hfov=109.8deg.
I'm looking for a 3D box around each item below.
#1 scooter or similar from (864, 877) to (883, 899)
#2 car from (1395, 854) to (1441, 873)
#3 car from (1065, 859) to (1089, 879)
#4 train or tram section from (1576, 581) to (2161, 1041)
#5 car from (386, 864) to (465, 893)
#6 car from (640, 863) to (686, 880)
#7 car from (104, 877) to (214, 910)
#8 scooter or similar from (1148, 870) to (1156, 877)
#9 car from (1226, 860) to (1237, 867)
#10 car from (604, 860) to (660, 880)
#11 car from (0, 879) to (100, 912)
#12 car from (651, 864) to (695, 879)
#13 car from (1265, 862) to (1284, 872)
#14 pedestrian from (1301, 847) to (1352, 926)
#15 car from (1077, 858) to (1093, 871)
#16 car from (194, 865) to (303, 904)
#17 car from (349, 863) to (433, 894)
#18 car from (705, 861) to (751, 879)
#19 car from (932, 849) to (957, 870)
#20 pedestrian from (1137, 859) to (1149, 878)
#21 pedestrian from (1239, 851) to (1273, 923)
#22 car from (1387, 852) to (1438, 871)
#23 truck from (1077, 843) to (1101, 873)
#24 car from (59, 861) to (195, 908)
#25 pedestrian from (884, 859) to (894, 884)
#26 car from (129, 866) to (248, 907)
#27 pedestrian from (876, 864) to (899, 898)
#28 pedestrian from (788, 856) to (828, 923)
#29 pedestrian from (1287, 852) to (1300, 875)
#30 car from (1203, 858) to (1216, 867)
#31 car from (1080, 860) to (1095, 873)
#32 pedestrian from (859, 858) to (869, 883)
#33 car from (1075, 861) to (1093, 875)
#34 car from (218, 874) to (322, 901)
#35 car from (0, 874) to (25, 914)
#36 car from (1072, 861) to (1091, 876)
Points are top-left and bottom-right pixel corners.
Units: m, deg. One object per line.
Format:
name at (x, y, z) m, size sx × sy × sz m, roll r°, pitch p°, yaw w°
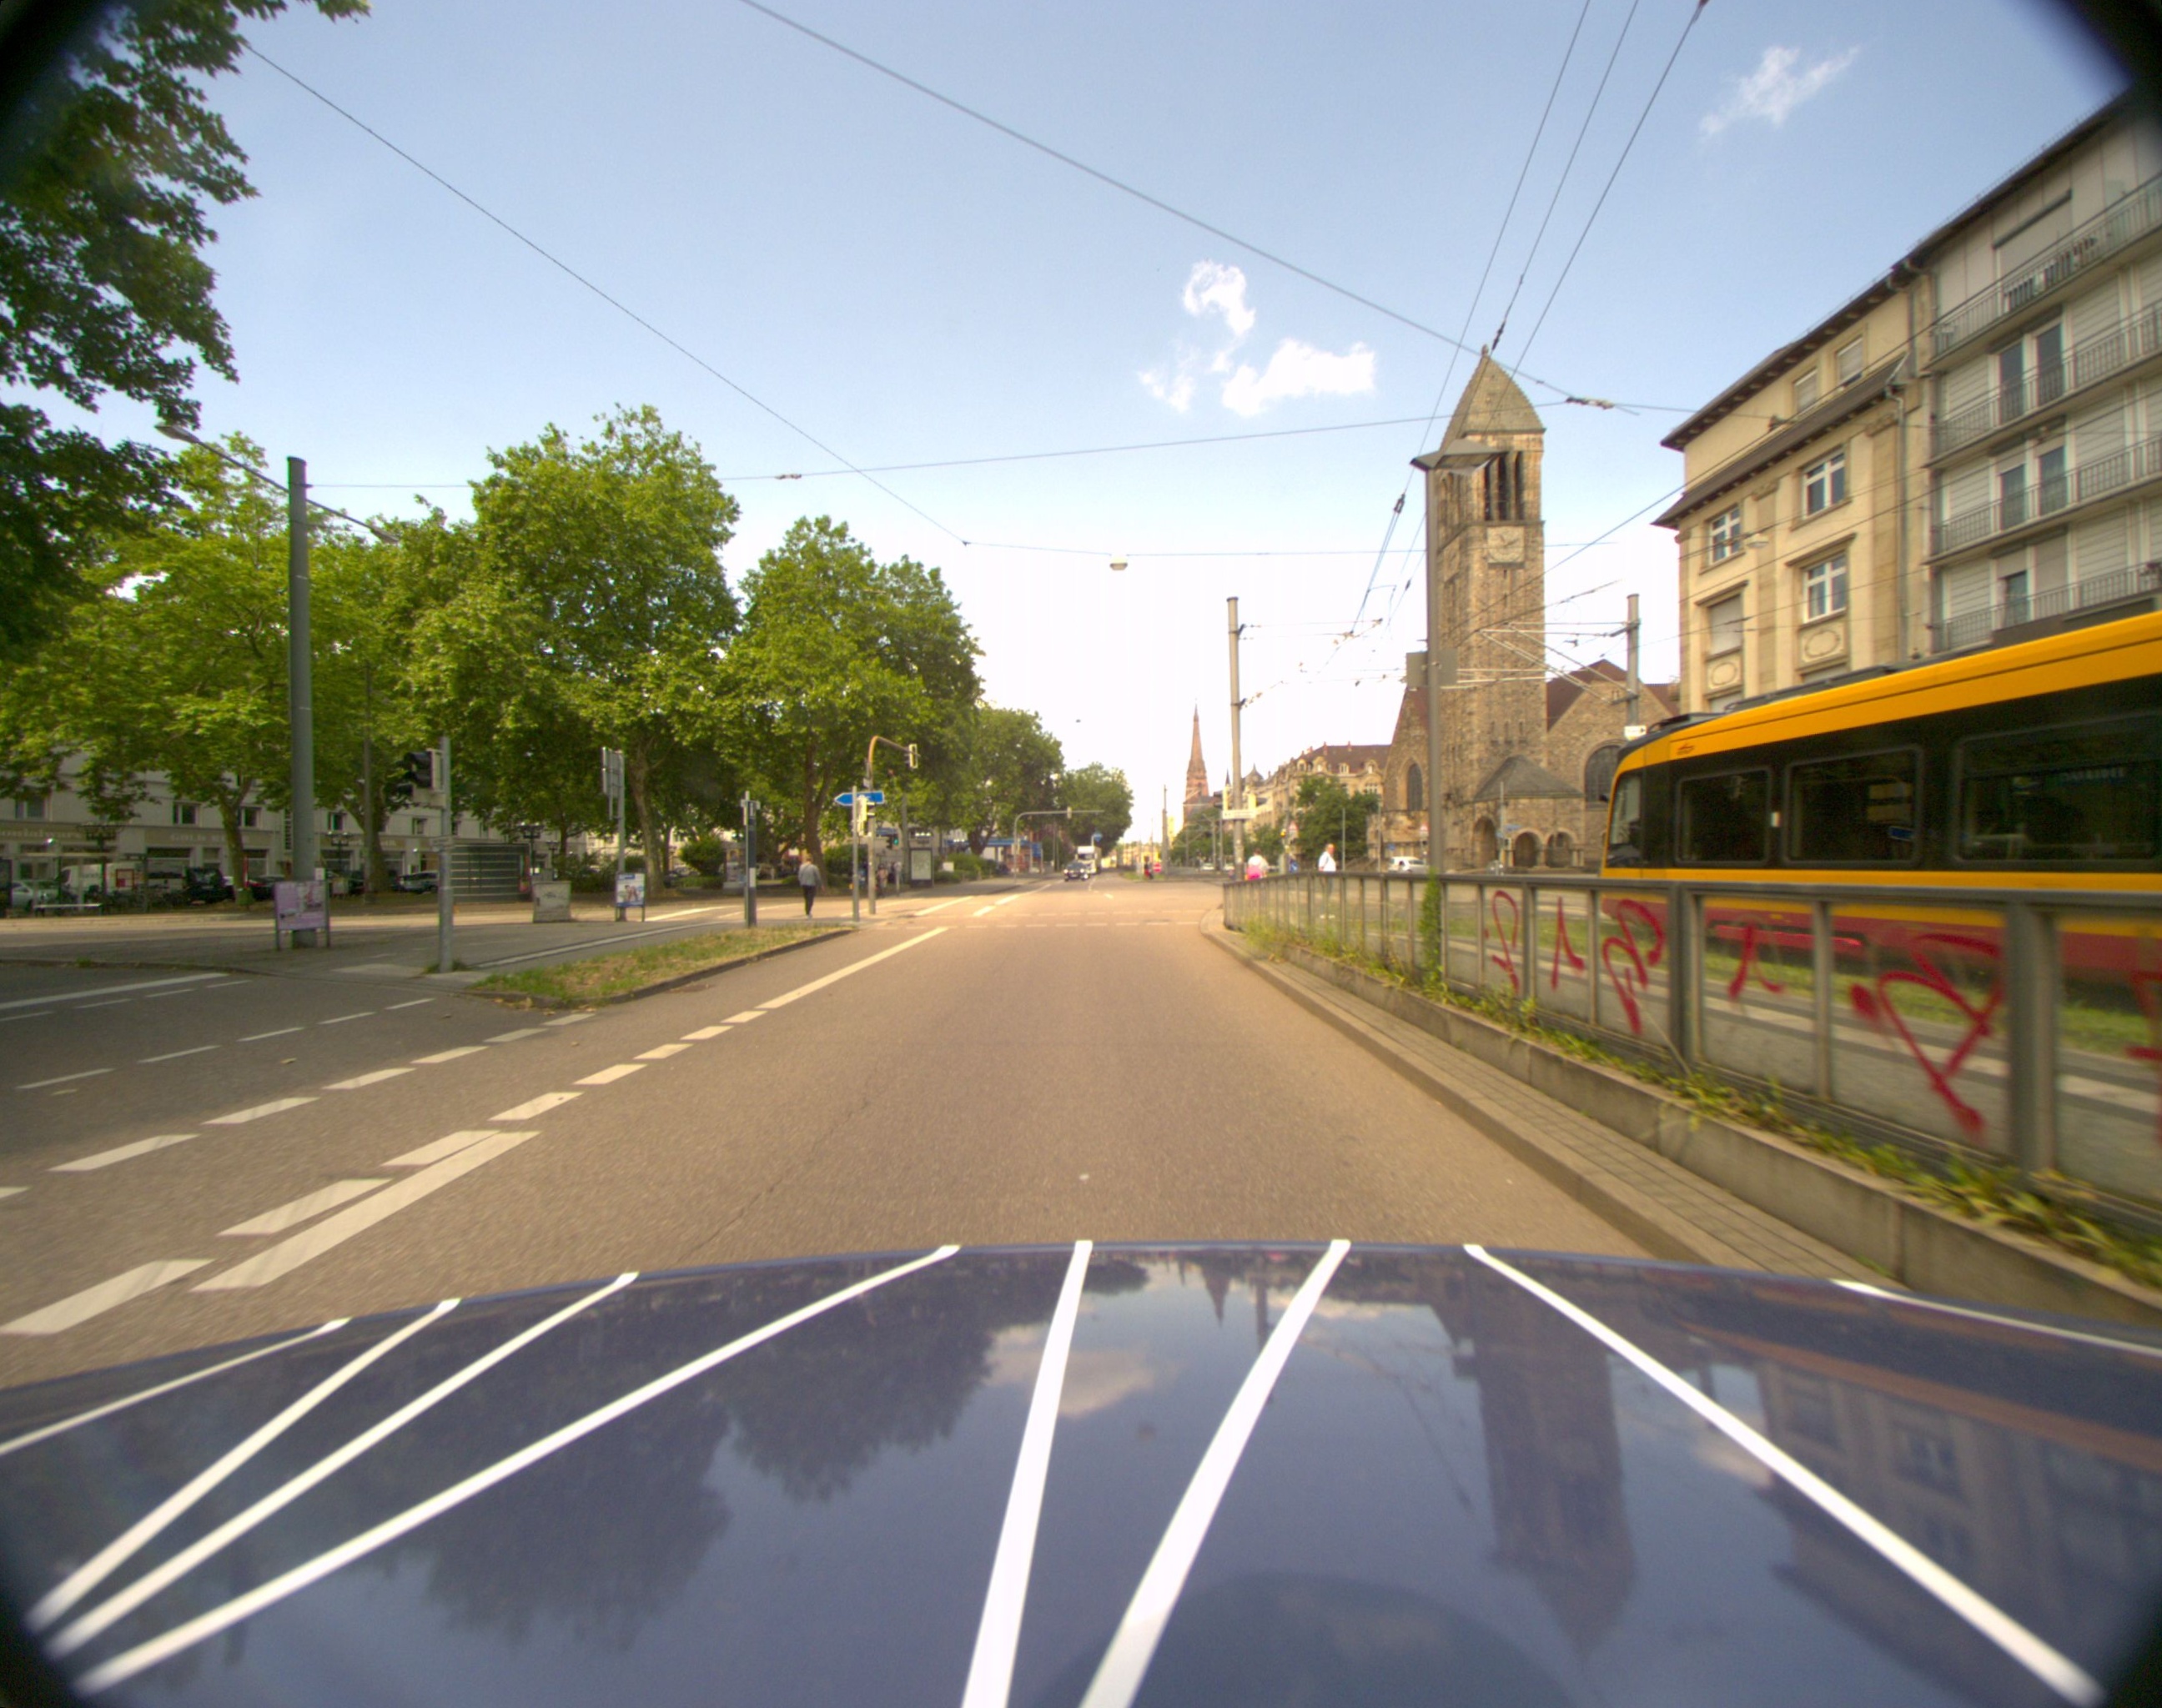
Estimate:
scooter or similar at (-9.928, 1.631, 36.432) m, size 0.489 × 1.050 × 0.710 m, roll 0°, pitch 0°, yaw 38°
car at (32.669, 0.935, 73.615) m, size 3.635 × 1.668 × 1.819 m, roll 1°, pitch -2°, yaw -1°
car at (-0.315, 1.305, 68.315) m, size 1.853 × 1.716 × 4.420 m, roll 0°, pitch 0°, yaw 3°
train or tram section at (9.795, -0.348, 6.552) m, size 2.814 × 3.563 × 13.017 m, roll -1°, pitch 0°, yaw 1°
car at (-47.534, 1.739, 55.160) m, size 3.997 × 2.002 × 2.000 m, roll -1°, pitch 0°, yaw 0°
car at (-45.544, 1.903, 82.786) m, size 3.996 × 1.670 × 1.855 m, roll -1°, pitch 0°, yaw 3°
car at (-42.923, 1.823, 35.440) m, size 3.066 × 1.381 × 1.469 m, roll -1°, pitch 0°, yaw -7°
scooter or similar at (5.631, 1.559, 60.340) m, size 0.521 × 0.532 × 0.310 m, roll 1°, pitch 0°, yaw -10°
car at (28.786, 1.799, 145.132) m, size 1.654 × 1.226 × 3.064 m, roll -1°, pitch -1°, yaw 2°
car at (-45.778, 1.613, 77.504) m, size 4.486 × 1.894 × 2.105 m, roll -1°, pitch 0°, yaw 3°
car at (-47.091, 1.861, 34.379) m, size 3.235 × 1.381 × 1.469 m, roll -1°, pitch 0°, yaw -5°
car at (-45.769, 1.959, 85.339) m, size 3.996 × 1.652 × 1.754 m, roll -1°, pitch 0°, yaw 3°
car at (27.620, 1.862, 108.512) m, size 1.788 × 1.486 × 3.839 m, roll -1°, pitch -1°, yaw 2°
pedestrian at (5.708, 0.734, 17.724) m, size 0.850 × 1.770 × 1.045 m, roll -1°, pitch 0°, yaw 2°
car at (0.581, 1.421, 100.330) m, size 1.853 × 1.695 × 4.135 m, roll 0°, pitch 0°, yaw 3°
car at (-46.937, 1.706, 42.874) m, size 3.996 × 2.064 × 2.000 m, roll -1°, pitch 0°, yaw 2°
car at (-47.735, 1.672, 52.625) m, size 3.996 × 2.002 × 2.000 m, roll -1°, pitch 0°, yaw 3°
car at (-37.601, 1.687, 80.958) m, size 3.996 × 1.789 × 1.870 m, roll -1°, pitch 0°, yaw 3°
car at (-16.409, 0.646, 91.411) m, size 2.110 × 2.406 × 4.001 m, roll -1°, pitch 0°, yaw 3°
pedestrian at (4.929, 1.110, 60.049) m, size 0.776 × 1.483 × 0.658 m, roll 1°, pitch 0°, yaw -10°
pedestrian at (4.172, 0.771, 18.110) m, size 0.624 × 1.656 × 0.677 m, roll -1°, pitch 0°, yaw 26°
car at (33.544, 0.807, 76.957) m, size 4.301 × 1.842 × 2.001 m, roll 1°, pitch -1°, yaw 1°
truck at (1.177, 0.511, 108.430) m, size 2.914 × 4.125 × 6.593 m, roll -1°, pitch 0°, yaw 5°
car at (-46.980, 1.487, 37.491) m, size 4.253 × 2.170 × 2.000 m, roll -1°, pitch 0°, yaw 2°
pedestrian at (-13.771, 1.241, 54.415) m, size 0.606 × 1.740 × 0.697 m, roll -1°, pitch 0°, yaw -22°
car at (-47.380, 1.708, 40.405) m, size 3.996 × 2.064 × 2.000 m, roll -1°, pitch 0°, yaw 2°
pedestrian at (-9.449, 1.317, 37.093) m, size 0.568 × 1.636 × 0.925 m, roll 0°, pitch 0°, yaw 38°
pedestrian at (-7.391, 0.948, 20.608) m, size 0.694 × 1.773 × 0.887 m, roll -1°, pitch 0°, yaw 4°
pedestrian at (16.585, 0.735, 59.256) m, size 0.771 × 1.721 × 0.744 m, roll 0°, pitch 0°, yaw 1°
car at (23.499, 1.571, 138.838) m, size 1.818 × 1.497 × 4.132 m, roll -1°, pitch -1°, yaw 3°
car at (0.788, 1.465, 91.434) m, size 1.685 × 1.554 × 3.754 m, roll 0°, pitch 0°, yaw 2°
pedestrian at (-15.576, 1.179, 54.495) m, size 0.606 × 1.740 × 0.697 m, roll -1°, pitch 0°, yaw -22°
car at (0.388, 1.562, 85.401) m, size 1.853 × 1.438 × 3.974 m, roll 0°, pitch 0°, yaw 3°
car at (-47.184, 1.929, 44.275) m, size 3.996 × 1.413 × 2.000 m, roll -1°, pitch 0°, yaw 2°
car at (-48.464, 1.744, 32.256) m, size 4.535 × 1.680 × 1.911 m, roll -1°, pitch 0°, yaw 0°
car at (0.063, 1.506, 77.814) m, size 1.733 × 1.457 × 4.328 m, roll 0°, pitch 0°, yaw 2°
